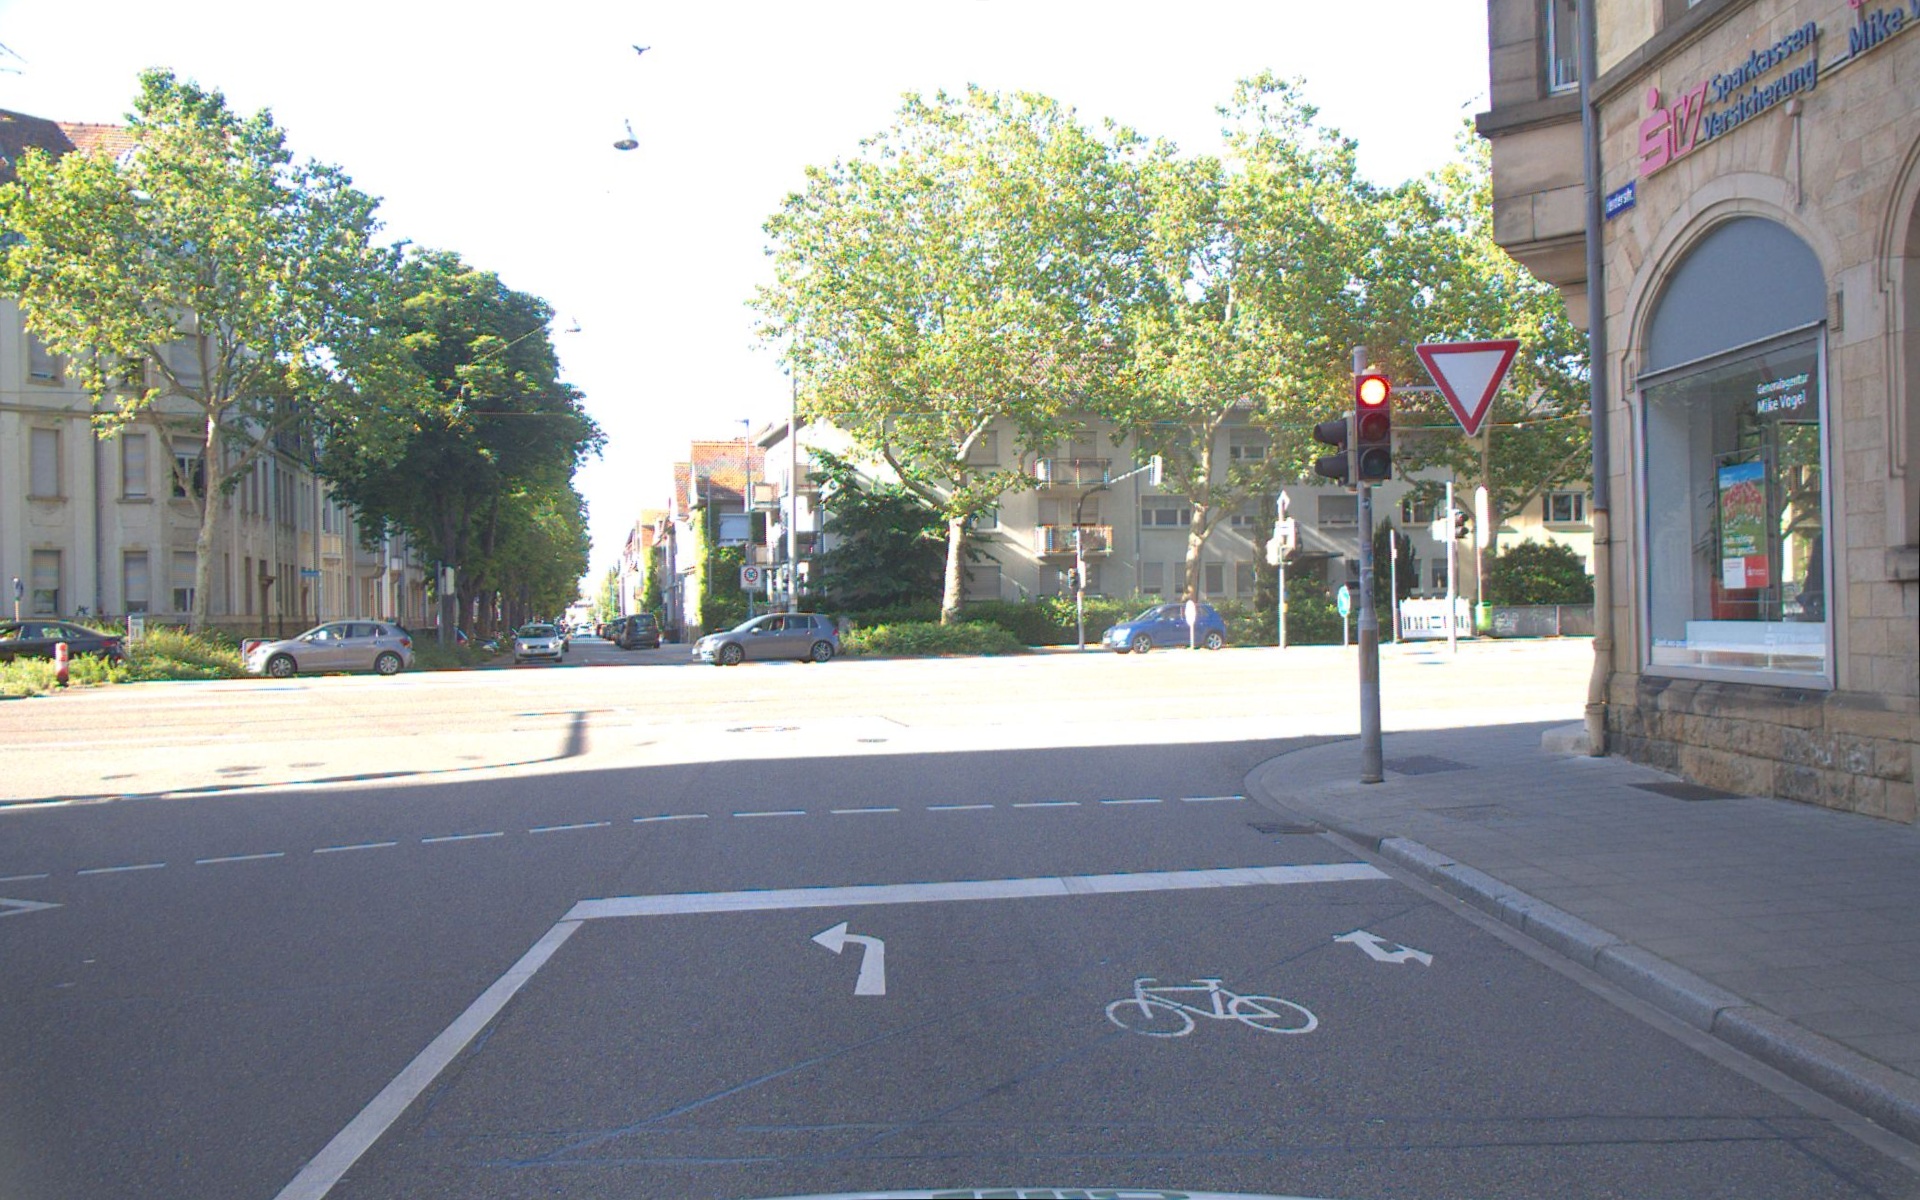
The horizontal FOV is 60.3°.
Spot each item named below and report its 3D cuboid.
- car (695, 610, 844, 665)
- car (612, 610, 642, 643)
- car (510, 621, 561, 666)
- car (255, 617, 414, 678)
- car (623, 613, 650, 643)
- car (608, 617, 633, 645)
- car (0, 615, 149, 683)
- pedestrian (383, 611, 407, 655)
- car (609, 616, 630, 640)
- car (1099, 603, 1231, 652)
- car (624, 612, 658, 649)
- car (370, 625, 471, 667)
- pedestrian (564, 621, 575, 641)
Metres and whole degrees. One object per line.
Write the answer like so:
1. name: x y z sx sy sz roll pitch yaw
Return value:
1. car: -5.348 1.032 46.513 3.884 1.425 1.635 -1 0 -22
2. car: -21.011 1.652 104.291 1.742 1.952 3.523 -3 0 -12
3. car: -16.166 1.636 63.079 1.669 1.509 3.523 -3 1 -12
4. car: -15.993 1.194 42.336 3.728 1.425 1.635 -1 0 -22
5. car: -22.487 1.926 114.882 1.742 1.952 3.523 -3 0 -12
6. car: -26.231 2.381 127.710 1.742 1.952 3.523 -3 0 -12
7. car: -20.647 1.093 37.182 4.207 1.425 1.635 -1 0 -22
8. pedestrian: -19.278 1.126 56.465 0.694 1.467 0.486 1 -1 -26
9. car: -30.044 2.447 145.936 1.742 1.952 3.523 -3 0 -12
10. car: 6.318 0.836 51.070 3.719 1.425 1.639 -1 0 -16
11. car: -18.197 1.724 94.205 1.742 1.952 3.523 -3 0 -12
12. car: -20.446 1.736 62.807 3.572 1.483 1.650 -1 0 -16
13. pedestrian: -32.976 2.624 139.694 0.759 1.698 0.633 1 -1 1
